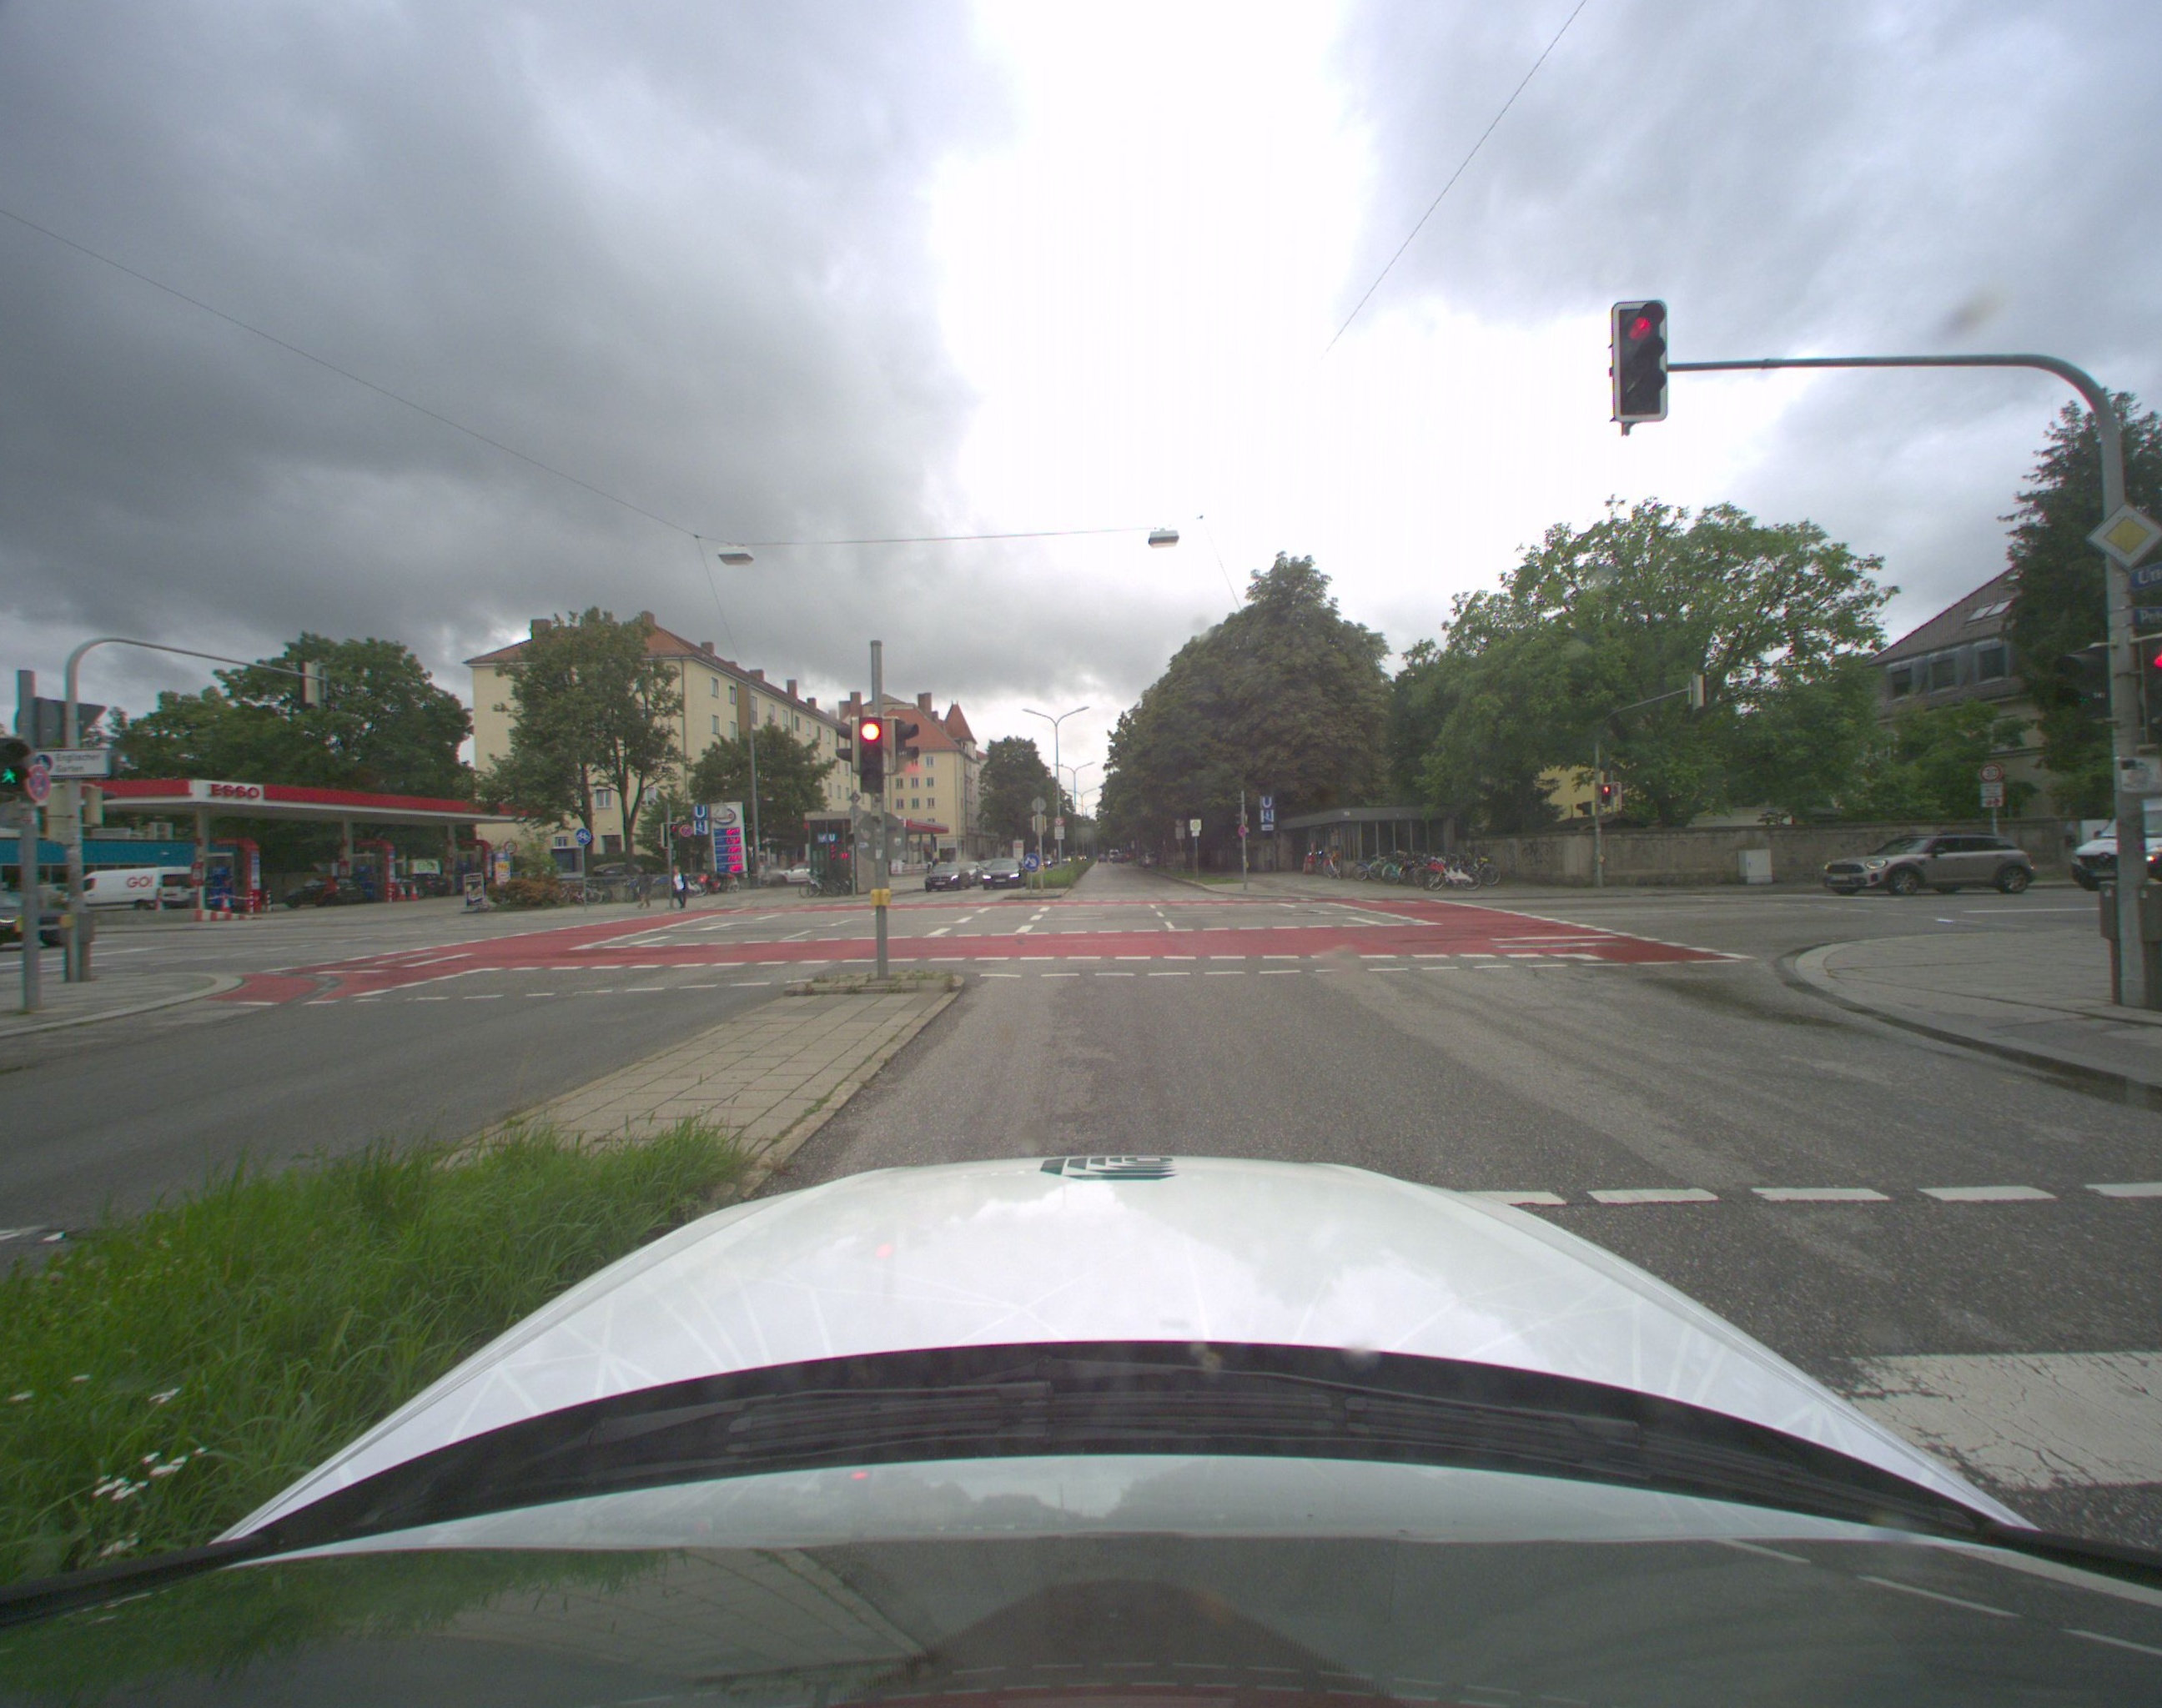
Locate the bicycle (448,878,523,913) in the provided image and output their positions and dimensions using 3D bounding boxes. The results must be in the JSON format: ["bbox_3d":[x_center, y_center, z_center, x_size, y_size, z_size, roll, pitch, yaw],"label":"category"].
[{"bbox_3d":[-22.831,1.586,31.246,2.179,1.236,0.764,-2,0,-8],"label":"bicycle"}]

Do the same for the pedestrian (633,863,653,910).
[{"bbox_3d":[-16.192,1.207,30.119,0.593,1.695,0.571,-2,0,-29],"label":"pedestrian"}]

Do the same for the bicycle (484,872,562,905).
[{"bbox_3d":[-21.884,1.354,31.957,2.394,1.251,0.789,0,-1,-10],"label":"bicycle"}]

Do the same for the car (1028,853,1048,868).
[{"bbox_3d":[-5.193,0.796,98.594,1.868,1.668,4.005,-2,0,5],"label":"car"}]

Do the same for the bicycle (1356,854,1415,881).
[{"bbox_3d":[12.215,0.539,32.720,2.130,1.014,0.604,-2,0,9],"label":"bicycle"}]

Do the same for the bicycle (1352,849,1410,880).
[{"bbox_3d":[12.288,0.434,33.431,2.130,1.218,0.604,-2,0,9],"label":"bicycle"}]

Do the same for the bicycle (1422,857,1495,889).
[{"bbox_3d":[12.730,0.638,27.482,2.130,1.014,0.636,-2,0,9],"label":"bicycle"}]

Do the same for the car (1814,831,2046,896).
[{"bbox_3d":[22.053,0.242,21.279,4.150,1.514,1.697,-2,0,3],"label":"car"}]

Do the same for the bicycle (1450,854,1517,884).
[{"bbox_3d":[14.861,0.553,30.104,2.130,1.014,0.636,-2,0,9],"label":"bicycle"}]

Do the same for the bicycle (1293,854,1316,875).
[{"bbox_3d":[11.539,0.534,42.087,0.555,1.014,2.015,-2,0,0],"label":"bicycle"}]

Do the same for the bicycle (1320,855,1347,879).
[{"bbox_3d":[11.129,0.569,35.977,0.555,1.014,2.015,-2,0,0],"label":"bicycle"}]

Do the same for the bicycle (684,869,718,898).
[{"bbox_3d":[-17.184,1.311,36.889,0.607,1.236,2.183,-2,0,-5],"label":"bicycle"}]

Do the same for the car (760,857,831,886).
[{"bbox_3d":[-17.972,1.087,51.247,3.976,1.608,1.801,-2,0,-27],"label":"car"}]

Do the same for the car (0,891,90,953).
[{"bbox_3d":[-27.730,1.739,20.547,3.532,1.412,1.666,-2,0,3],"label":"car"}]

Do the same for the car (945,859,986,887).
[{"bbox_3d":[-6.808,1.094,48.492,1.753,1.460,4.001,-2,0,1],"label":"car"}]

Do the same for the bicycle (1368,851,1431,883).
[{"bbox_3d":[12.170,0.489,31.138,2.130,1.178,0.604,-2,0,9],"label":"bicycle"}]

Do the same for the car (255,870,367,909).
[{"bbox_3d":[-39.648,1.824,42.016,3.973,1.784,1.858,-2,0,1],"label":"car"}]

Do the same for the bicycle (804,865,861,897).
[{"bbox_3d":[-10.979,1.199,36.062,2.276,1.304,0.694,-2,0,2],"label":"bicycle"}]

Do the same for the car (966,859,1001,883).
[{"bbox_3d":[-6.595,1.146,55.485,1.753,1.460,4.001,-2,0,1],"label":"car"}]

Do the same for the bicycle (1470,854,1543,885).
[{"bbox_3d":[14.892,0.543,28.541,2.130,1.014,0.636,-2,0,9],"label":"bicycle"}]

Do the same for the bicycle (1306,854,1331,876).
[{"bbox_3d":[11.259,0.506,38.710,0.555,1.014,2.015,-2,0,0],"label":"bicycle"}]

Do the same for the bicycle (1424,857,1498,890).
[{"bbox_3d":[12.514,0.655,26.862,2.130,1.014,0.604,-2,0,9],"label":"bicycle"}]

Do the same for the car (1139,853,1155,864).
[{"bbox_3d":[8.102,0.529,99.730,1.737,1.363,3.807,-2,0,1],"label":"car"}]

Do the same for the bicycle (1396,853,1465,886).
[{"bbox_3d":[12.410,0.555,28.950,2.130,1.101,0.604,-2,0,9],"label":"bicycle"}]

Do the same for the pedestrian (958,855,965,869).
[{"bbox_3d":[-13.857,0.908,94.513,0.693,1.638,0.738,-2,0,1],"label":"pedestrian"}]

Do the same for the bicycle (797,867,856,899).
[{"bbox_3d":[-11.024,1.236,35.282,2.262,1.304,0.704,-2,0,2],"label":"bicycle"}]

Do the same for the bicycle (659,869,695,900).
[{"bbox_3d":[-17.864,1.328,36.073,0.607,1.236,2.183,-2,0,-5],"label":"bicycle"}]

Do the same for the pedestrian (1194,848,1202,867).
[{"bbox_3d":[10.592,0.299,73.794,0.674,1.682,0.684,-2,0,7],"label":"pedestrian"}]

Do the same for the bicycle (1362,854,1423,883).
[{"bbox_3d":[12.162,0.552,31.840,2.130,1.062,0.604,-2,0,9],"label":"bicycle"}]

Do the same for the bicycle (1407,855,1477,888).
[{"bbox_3d":[12.531,0.621,28.292,2.130,1.071,0.604,-2,0,9],"label":"bicycle"}]

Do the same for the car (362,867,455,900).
[{"bbox_3d":[-40.230,1.770,48.780,3.973,1.784,1.858,-2,0,1],"label":"car"}]

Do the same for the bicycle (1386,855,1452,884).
[{"bbox_3d":[12.302,0.566,29.667,2.130,1.014,0.604,-2,0,9],"label":"bicycle"}]

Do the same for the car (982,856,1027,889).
[{"bbox_3d":[-3.759,0.888,40.739,1.753,1.493,4.001,-2,0,1],"label":"car"}]

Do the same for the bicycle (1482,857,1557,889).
[{"bbox_3d":[14.923,0.638,27.742,2.130,1.014,0.636,-2,0,9],"label":"bicycle"}]

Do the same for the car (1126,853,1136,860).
[{"bbox_3d":[9.827,0.501,159.323,1.737,1.427,3.900,-2,0,1],"label":"car"}]

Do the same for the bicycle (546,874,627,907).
[{"bbox_3d":[-19.590,1.440,32.355,2.720,1.251,0.786,0,-1,-29],"label":"bicycle"}]

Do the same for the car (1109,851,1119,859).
[{"bbox_3d":[7.152,0.223,175.706,1.986,1.756,4.001,-2,0,1],"label":"car"}]

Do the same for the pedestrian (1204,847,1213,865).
[{"bbox_3d":[11.571,0.176,73.948,0.674,1.682,0.684,-2,0,7],"label":"pedestrian"}]

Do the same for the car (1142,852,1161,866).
[{"bbox_3d":[7.747,0.532,89.724,1.737,1.363,3.807,-2,0,1],"label":"car"}]

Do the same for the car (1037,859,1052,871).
[{"bbox_3d":[-4.900,1.486,109.259,1.753,1.493,4.001,-2,0,1],"label":"car"}]

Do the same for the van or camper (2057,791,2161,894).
[{"bbox_3d":[28.785,-0.363,20.575,5.529,2.469,2.069,-2,0,3],"label":"van or camper"}]

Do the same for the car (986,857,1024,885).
[{"bbox_3d":[-4.506,0.975,48.525,1.753,1.493,4.001,-2,0,1],"label":"car"}]

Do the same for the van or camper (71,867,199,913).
[{"bbox_3d":[-51.873,1.939,44.714,4.526,2.323,1.917,-2,0,-3],"label":"van or camper"}]

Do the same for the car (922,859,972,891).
[{"bbox_3d":[-6.824,1.048,41.743,1.753,1.460,4.001,-2,0,1],"label":"car"}]

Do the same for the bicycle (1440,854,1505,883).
[{"bbox_3d":[14.829,0.557,30.890,2.130,1.014,0.636,-2,0,9],"label":"bicycle"}]

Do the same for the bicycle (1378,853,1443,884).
[{"bbox_3d":[12.282,0.532,30.397,2.130,1.086,0.604,-2,0,9],"label":"bicycle"}]

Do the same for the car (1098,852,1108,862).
[{"bbox_3d":[4.014,0.476,148.432,1.850,1.684,4.001,-2,0,1],"label":"car"}]

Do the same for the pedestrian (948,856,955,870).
[{"bbox_3d":[-15.842,1.068,99.623,0.693,1.638,0.738,-2,0,1],"label":"pedestrian"}]

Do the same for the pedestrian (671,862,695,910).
[{"bbox_3d":[-14.588,1.169,29.871,0.531,1.695,0.578,-2,0,5],"label":"pedestrian"}]

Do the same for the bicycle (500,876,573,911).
[{"bbox_3d":[-20.897,1.515,31.298,2.180,1.236,0.763,-2,0,-10],"label":"bicycle"}]

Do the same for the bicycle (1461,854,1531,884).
[{"bbox_3d":[14.919,0.549,29.308,2.130,1.014,0.636,-2,0,9],"label":"bicycle"}]

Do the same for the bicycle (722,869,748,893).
[{"bbox_3d":[-17.409,1.350,41.041,0.607,1.145,1.962,-2,0,-5],"label":"bicycle"}]

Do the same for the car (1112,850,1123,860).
[{"bbox_3d":[6.213,0.230,138.663,1.915,1.684,4.001,0,-1,2],"label":"car"}]

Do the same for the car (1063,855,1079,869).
[{"bbox_3d":[-1.024,0.819,85.588,1.463,1.399,3.701,-2,0,1],"label":"car"}]
